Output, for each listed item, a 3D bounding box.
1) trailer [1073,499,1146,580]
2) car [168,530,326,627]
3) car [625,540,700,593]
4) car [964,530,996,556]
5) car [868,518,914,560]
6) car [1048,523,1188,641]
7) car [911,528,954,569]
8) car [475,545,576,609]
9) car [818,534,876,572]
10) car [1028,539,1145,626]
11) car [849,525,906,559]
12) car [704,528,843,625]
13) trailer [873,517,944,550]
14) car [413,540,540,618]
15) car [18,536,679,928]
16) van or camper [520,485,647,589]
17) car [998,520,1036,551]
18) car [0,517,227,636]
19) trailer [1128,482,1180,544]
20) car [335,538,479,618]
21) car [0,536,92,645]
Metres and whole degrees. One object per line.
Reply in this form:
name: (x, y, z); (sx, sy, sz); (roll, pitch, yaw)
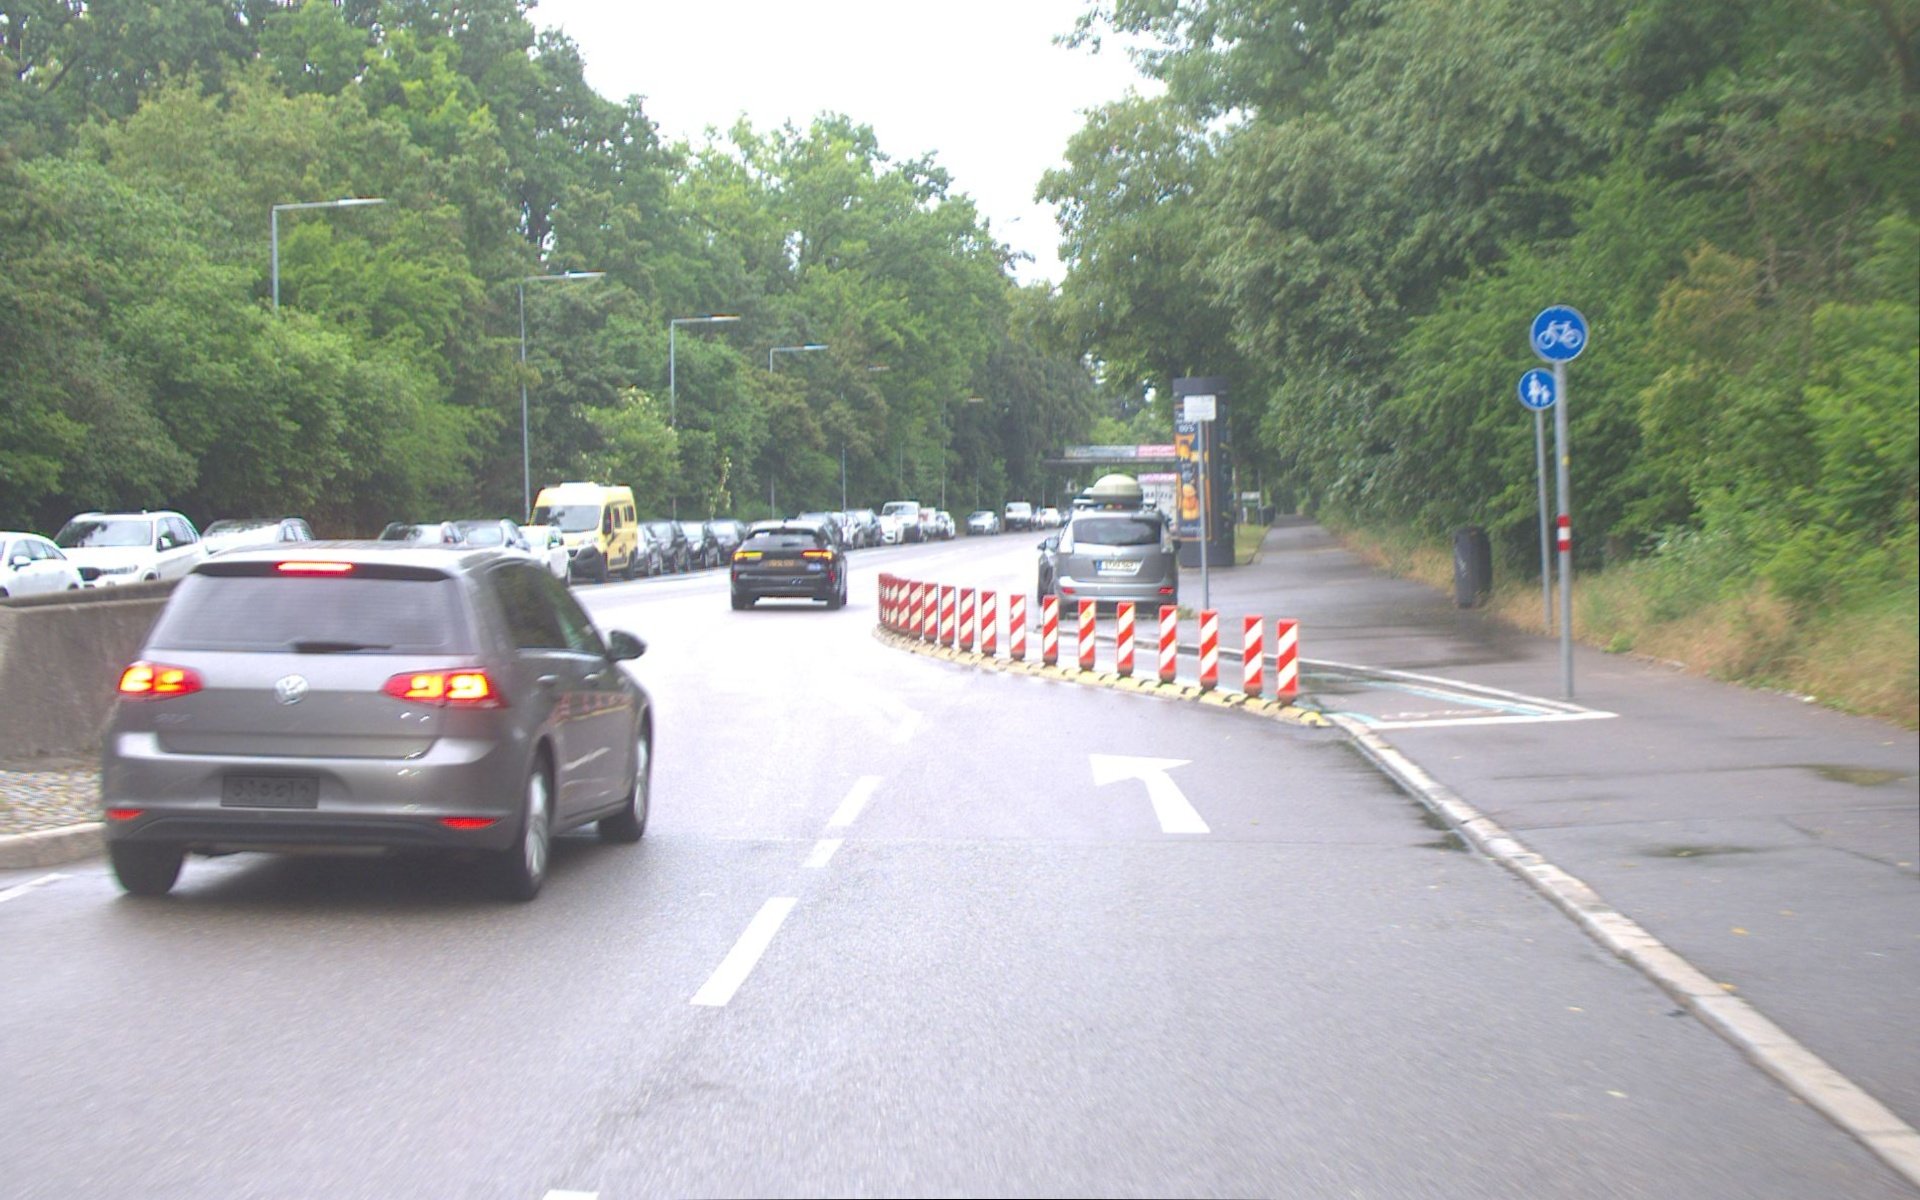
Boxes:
trailer: (4.294, -1.749, 98.156); (1.906, 2.240, 4.767); (0, 1, 4)
car: (-12.615, -0.406, 61.079); (1.731, 1.643, 4.571); (0, 1, 2)
car: (-8.679, -1.000, 100.485); (1.603, 1.505, 3.138); (0, 1, 6)
car: (1.251, -3.448, 208.621); (1.672, 1.508, 3.630); (1, 2, 4)
car: (-3.276, -2.925, 163.896); (1.940, 2.007, 4.740); (0, 1, 2)
car: (2.225, -0.270, 49.346); (1.822, 1.609, 4.252); (0, 1, 0)
car: (-1.390, -2.620, 174.331); (1.940, 2.007, 4.740); (0, 1, 2)
car: (-10.489, -0.574, 83.185); (1.618, 1.443, 3.656); (-1, 1, 5)
car: (-4.703, -1.991, 143.440); (1.880, 1.556, 4.467); (0, 1, 5)
car: (2.150, -0.324, 59.283); (1.853, 1.394, 4.385); (1, 1, 0)
car: (-3.652, -2.595, 152.886); (1.994, 1.483, 4.467); (0, 1, 5)
car: (-3.007, -0.420, 56.195); (1.881, 1.461, 4.000); (2, 1, 2)
trailer: (-2.516, -3.258, 168.645); (1.629, 1.623, 3.665); (1, 1, 36)
car: (-10.956, -0.503, 78.214); (1.994, 1.694, 4.615); (0, 1, 3)
car: (-2.503, 0.502, 15.188); (1.871, 1.436, 4.296); (1, 0, 4)
van or camper: (-9.772, -1.644, 89.680); (2.144, 2.618, 5.681); (0, 1, 6)
car: (3.872, -4.391, 233.562); (2.159, 2.007, 5.030); (0, 1, 6)
car: (-13.046, -0.383, 53.277); (1.994, 1.759, 4.959); (0, 1, 4)
trailer: (8.139, -3.647, 144.533); (2.132, 2.551, 4.297); (0, 1, 3)
car: (-11.623, -0.495, 72.554); (1.919, 1.611, 4.489); (-1, 1, 5)
car: (-13.602, -0.150, 47.416); (1.719, 1.455, 4.707); (0, 1, 5)
